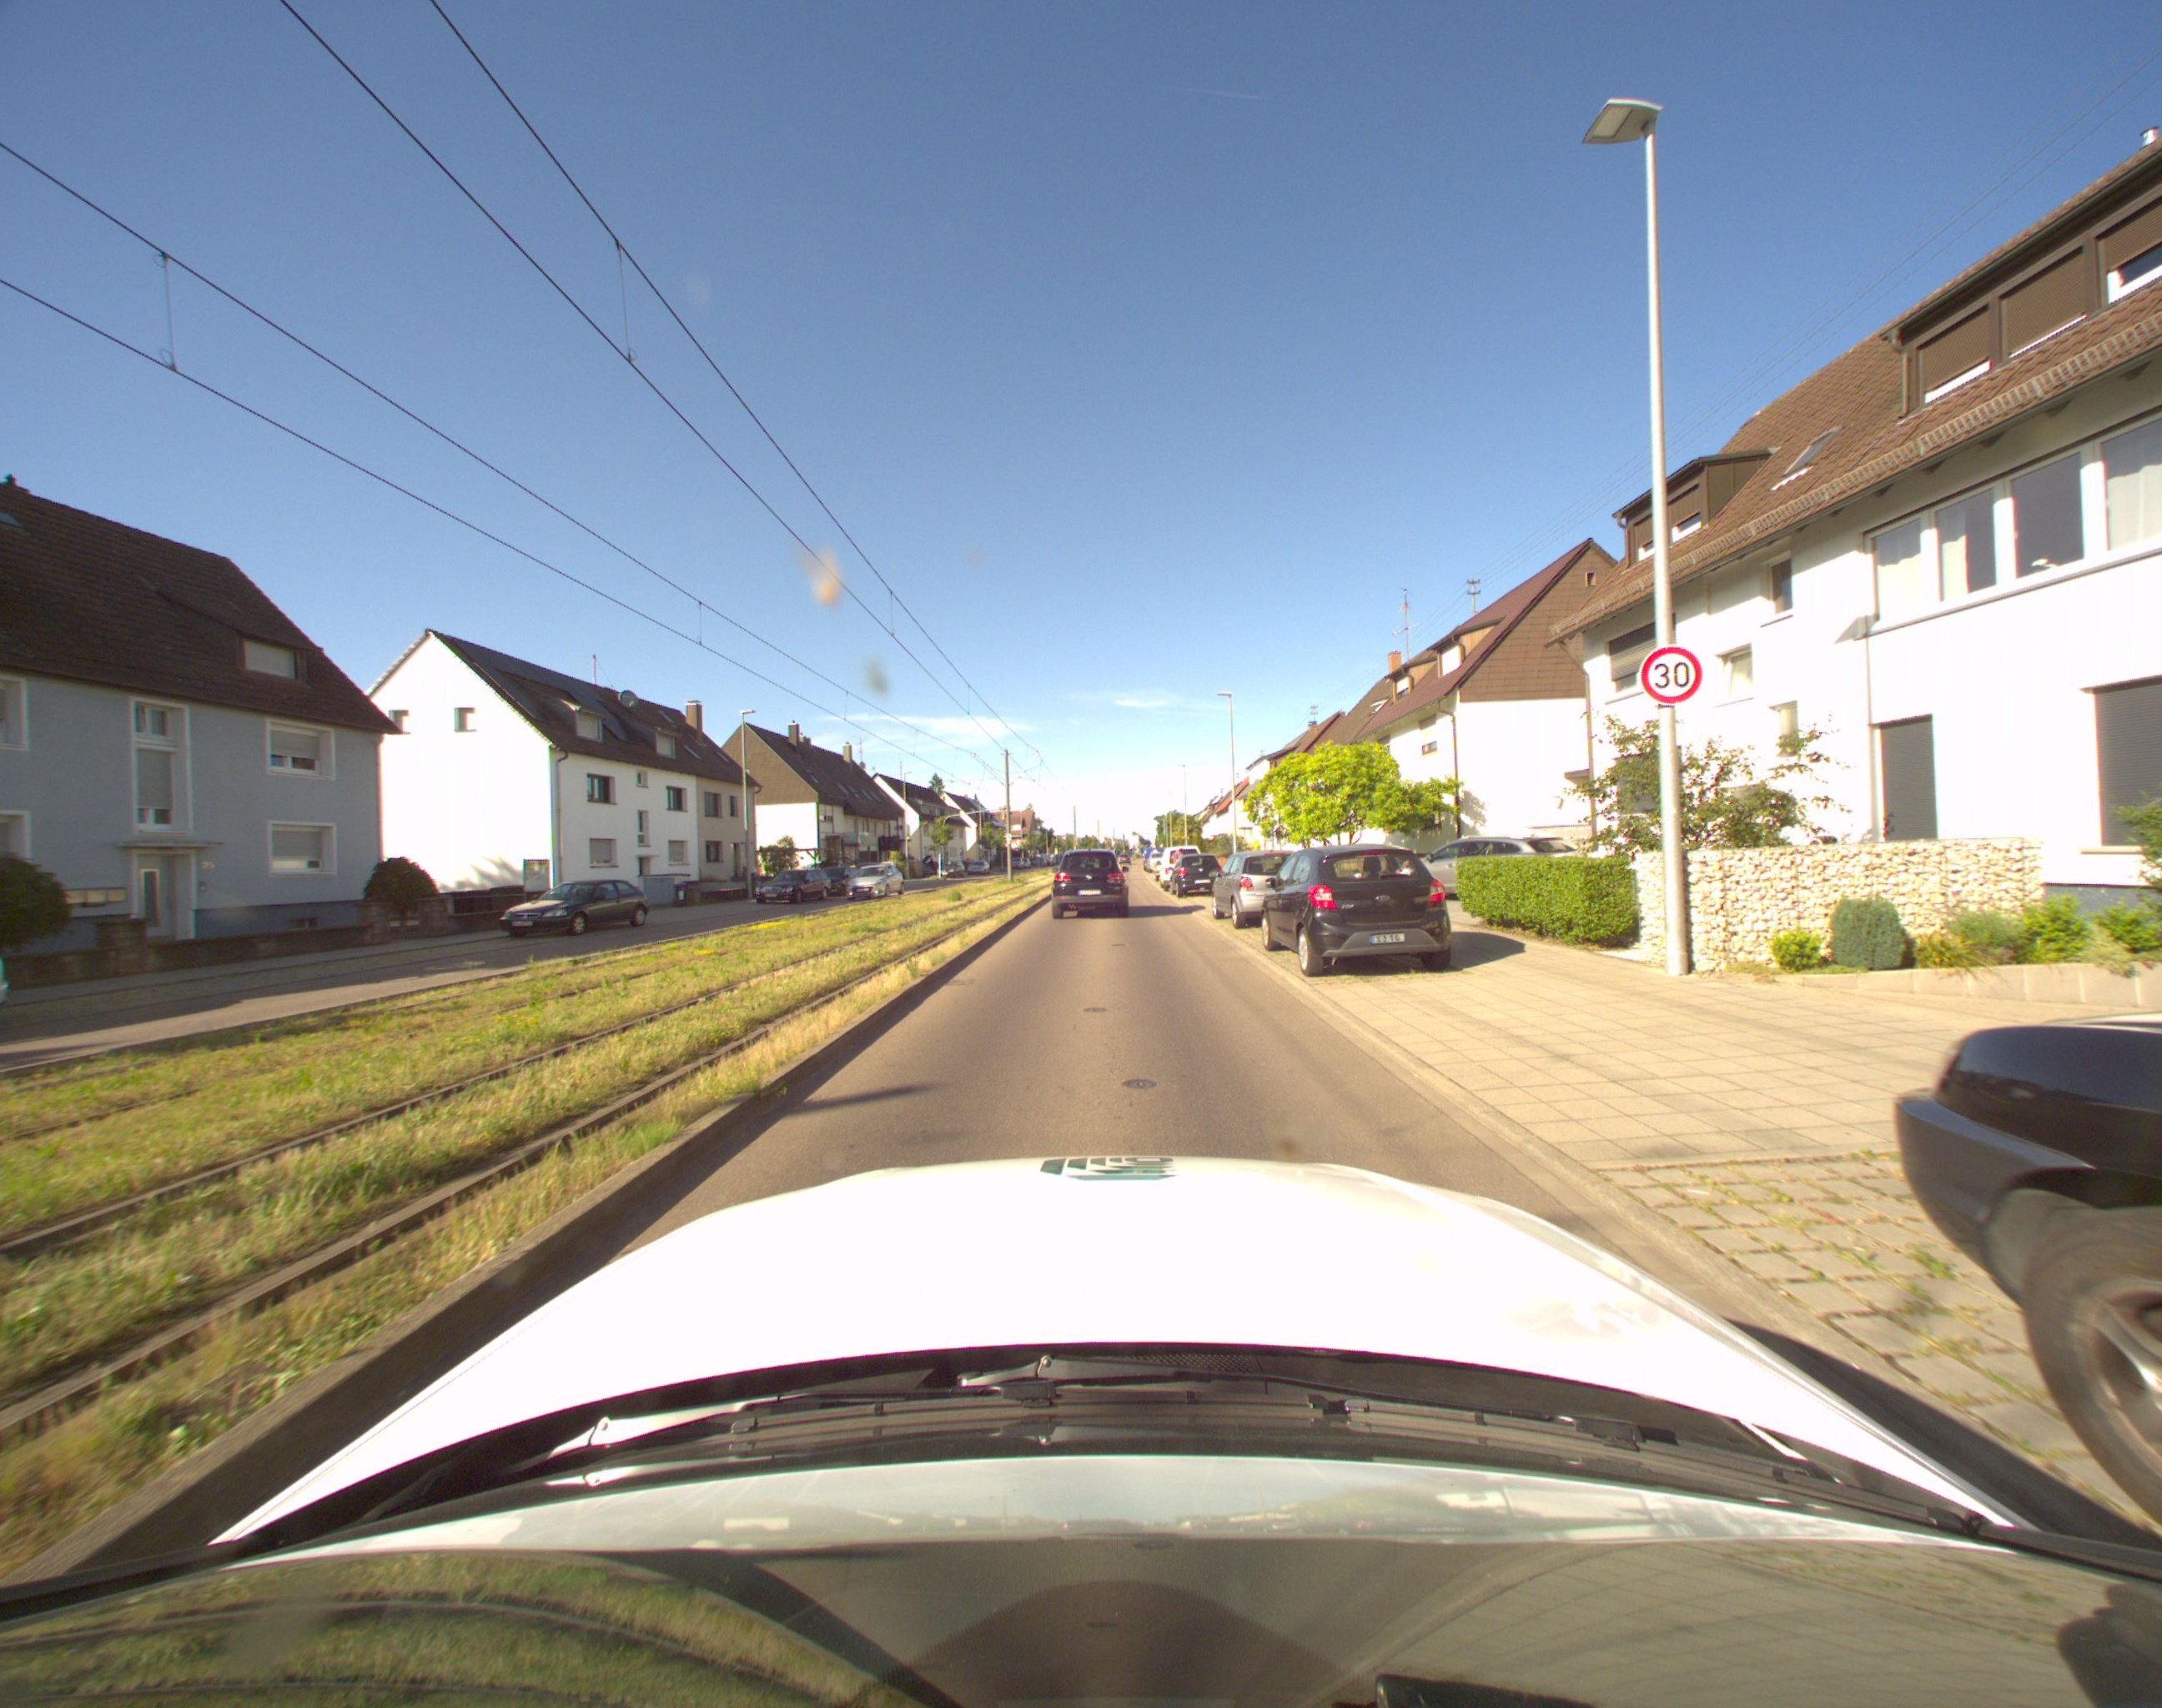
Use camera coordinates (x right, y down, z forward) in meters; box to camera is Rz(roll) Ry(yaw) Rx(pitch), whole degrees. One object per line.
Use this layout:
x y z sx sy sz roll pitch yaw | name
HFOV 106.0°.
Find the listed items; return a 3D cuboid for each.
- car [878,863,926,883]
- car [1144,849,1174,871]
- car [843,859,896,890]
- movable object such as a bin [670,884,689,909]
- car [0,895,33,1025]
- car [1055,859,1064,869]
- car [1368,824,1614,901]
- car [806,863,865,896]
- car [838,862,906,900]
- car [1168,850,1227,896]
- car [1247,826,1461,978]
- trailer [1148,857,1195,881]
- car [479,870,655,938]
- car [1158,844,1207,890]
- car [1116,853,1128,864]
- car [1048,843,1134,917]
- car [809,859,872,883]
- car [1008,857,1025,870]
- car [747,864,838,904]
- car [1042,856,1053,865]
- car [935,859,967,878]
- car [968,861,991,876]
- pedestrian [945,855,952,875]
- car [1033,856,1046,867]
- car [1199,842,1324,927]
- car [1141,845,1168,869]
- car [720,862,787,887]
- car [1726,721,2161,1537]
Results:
-15.688 1.618 71.426 3.897 1.568 1.731 -2 0 -6 | car
5.889 0.446 61.826 1.780 1.441 4.460 -4 0 1 | car
-12.088 1.149 46.823 1.797 1.597 4.810 -2 0 -1 | car
-15.823 1.668 32.125 0.387 0.927 0.704 -2 -2 1 | movable object such as a bin
-13.653 1.289 7.794 1.686 1.518 4.215 -3 0 1 | car
-3.940 1.836 149.126 1.459 1.677 3.289 -2 -1 3 | car
9.094 0.195 18.626 2.002 1.445 4.844 -3 0 -23 | car
-12.377 1.252 41.305 1.514 1.475 4.204 -2 0 3 | car
-9.078 1.168 35.731 1.701 1.490 4.027 -2 -2 3 | car
4.080 0.629 29.079 1.664 1.453 4.128 -3 0 2 | car
3.383 0.526 10.863 1.659 1.547 3.838 -4 0 3 | car
4.954 0.785 45.046 2.196 1.094 4.373 -4 0 2 | trailer
-13.332 1.233 21.486 1.783 1.462 4.170 -2 0 3 | car
4.257 0.515 34.782 1.683 1.776 4.659 -2 0 3 | car
5.604 0.608 110.429 1.566 1.391 3.617 -2 0 2 | car
0.139 0.613 20.794 1.809 1.671 4.250 0 -1 -5 | car
-17.944 1.252 60.827 4.154 1.616 1.758 -2 0 -2 | car
-8.218 1.168 103.941 1.652 1.496 3.582 -3 0 3 | car
-12.644 1.273 36.076 1.868 1.523 4.887 -2 0 5 | car
-5.396 0.979 131.887 1.509 1.361 3.592 -3 0 2 | car
-10.850 1.182 68.144 1.610 1.453 3.725 -3 0 7 | car
-10.035 1.452 80.968 1.612 1.409 3.720 -2 -2 3 | car
-12.126 1.018 74.599 0.466 1.746 0.536 -2 0 2 | pedestrian
-6.426 1.243 126.223 1.653 1.581 4.003 -2 -2 3 | car
3.607 0.570 17.036 1.610 1.475 4.449 -2 0 1 | car
6.144 0.249 68.199 1.985 1.862 4.921 -2 0 3 | car
-24.441 1.510 60.886 4.138 1.654 1.860 -2 0 5 | car
3.060 0.529 0.491 1.847 1.659 4.475 -2 0 2 | car
